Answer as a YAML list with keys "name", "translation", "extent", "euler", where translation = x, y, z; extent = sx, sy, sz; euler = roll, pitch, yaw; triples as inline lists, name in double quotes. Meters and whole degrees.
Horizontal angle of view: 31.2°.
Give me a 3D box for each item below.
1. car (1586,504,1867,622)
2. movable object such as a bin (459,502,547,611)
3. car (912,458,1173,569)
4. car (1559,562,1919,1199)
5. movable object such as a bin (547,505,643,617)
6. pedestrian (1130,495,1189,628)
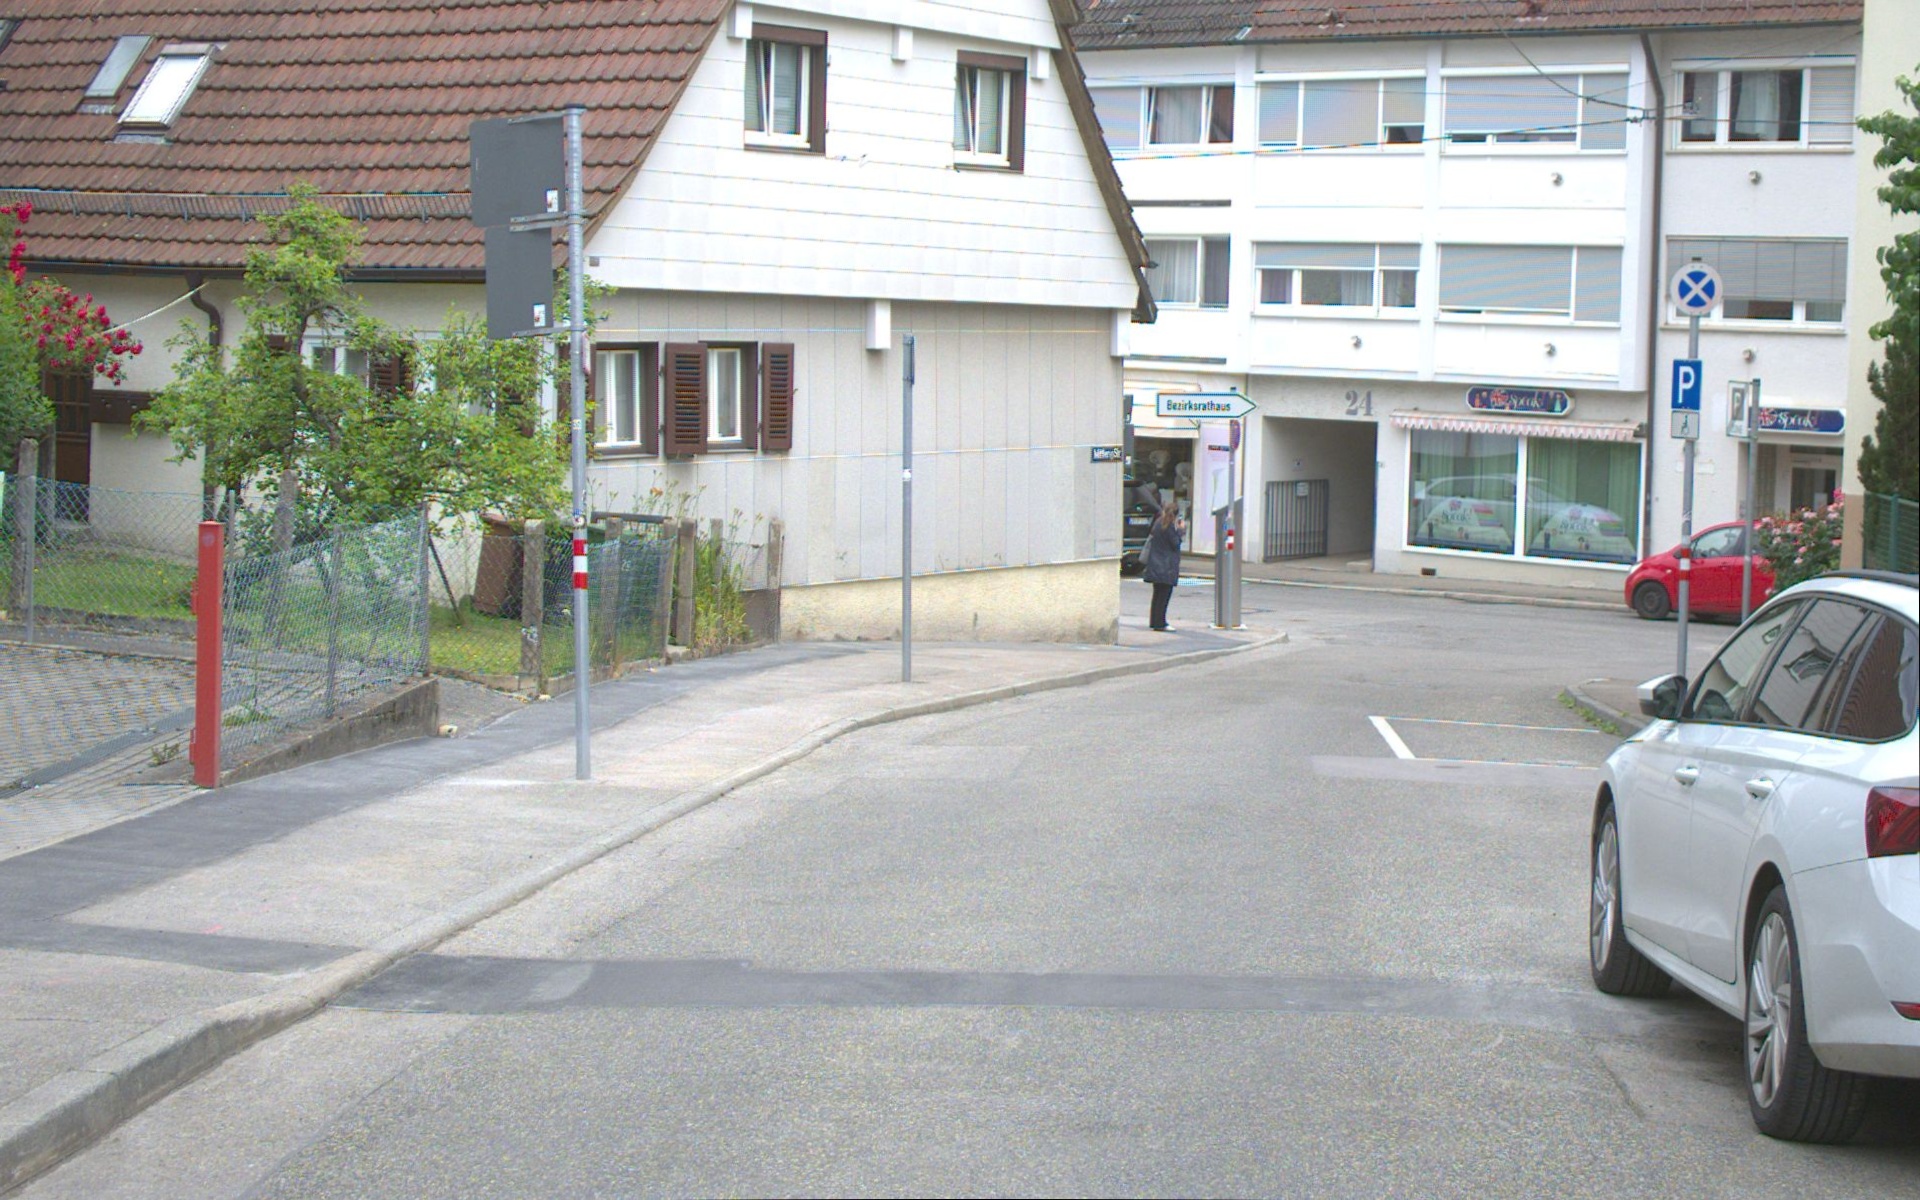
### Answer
- name: "car"
  translation: [11.394, -0.573, 51.220]
  extent: [1.693, 1.551, 3.693]
  euler: [-1, 4, -45]
- name: "movable object such as a bin"
  translation: [-3.957, -0.376, 29.785]
  extent: [0.495, 0.875, 0.452]
  euler: [7, 2, 34]
- name: "car"
  translation: [1.417, -1.546, 60.177]
  extent: [4.366, 1.773, 1.942]
  euler: [4, 4, 44]
- name: "car"
  translation: [2.975, 0.673, 9.884]
  extent: [1.795, 1.440, 4.298]
  euler: [3, 1, 2]
- name: "movable object such as a bin"
  translation: [-3.095, -0.327, 29.152]
  extent: [0.528, 0.881, 0.489]
  euler: [7, 2, 33]
- name: "pedestrian"
  translation: [2.596, -0.505, 44.675]
  extent: [0.647, 1.679, 0.604]
  euler: [3, 3, 10]
